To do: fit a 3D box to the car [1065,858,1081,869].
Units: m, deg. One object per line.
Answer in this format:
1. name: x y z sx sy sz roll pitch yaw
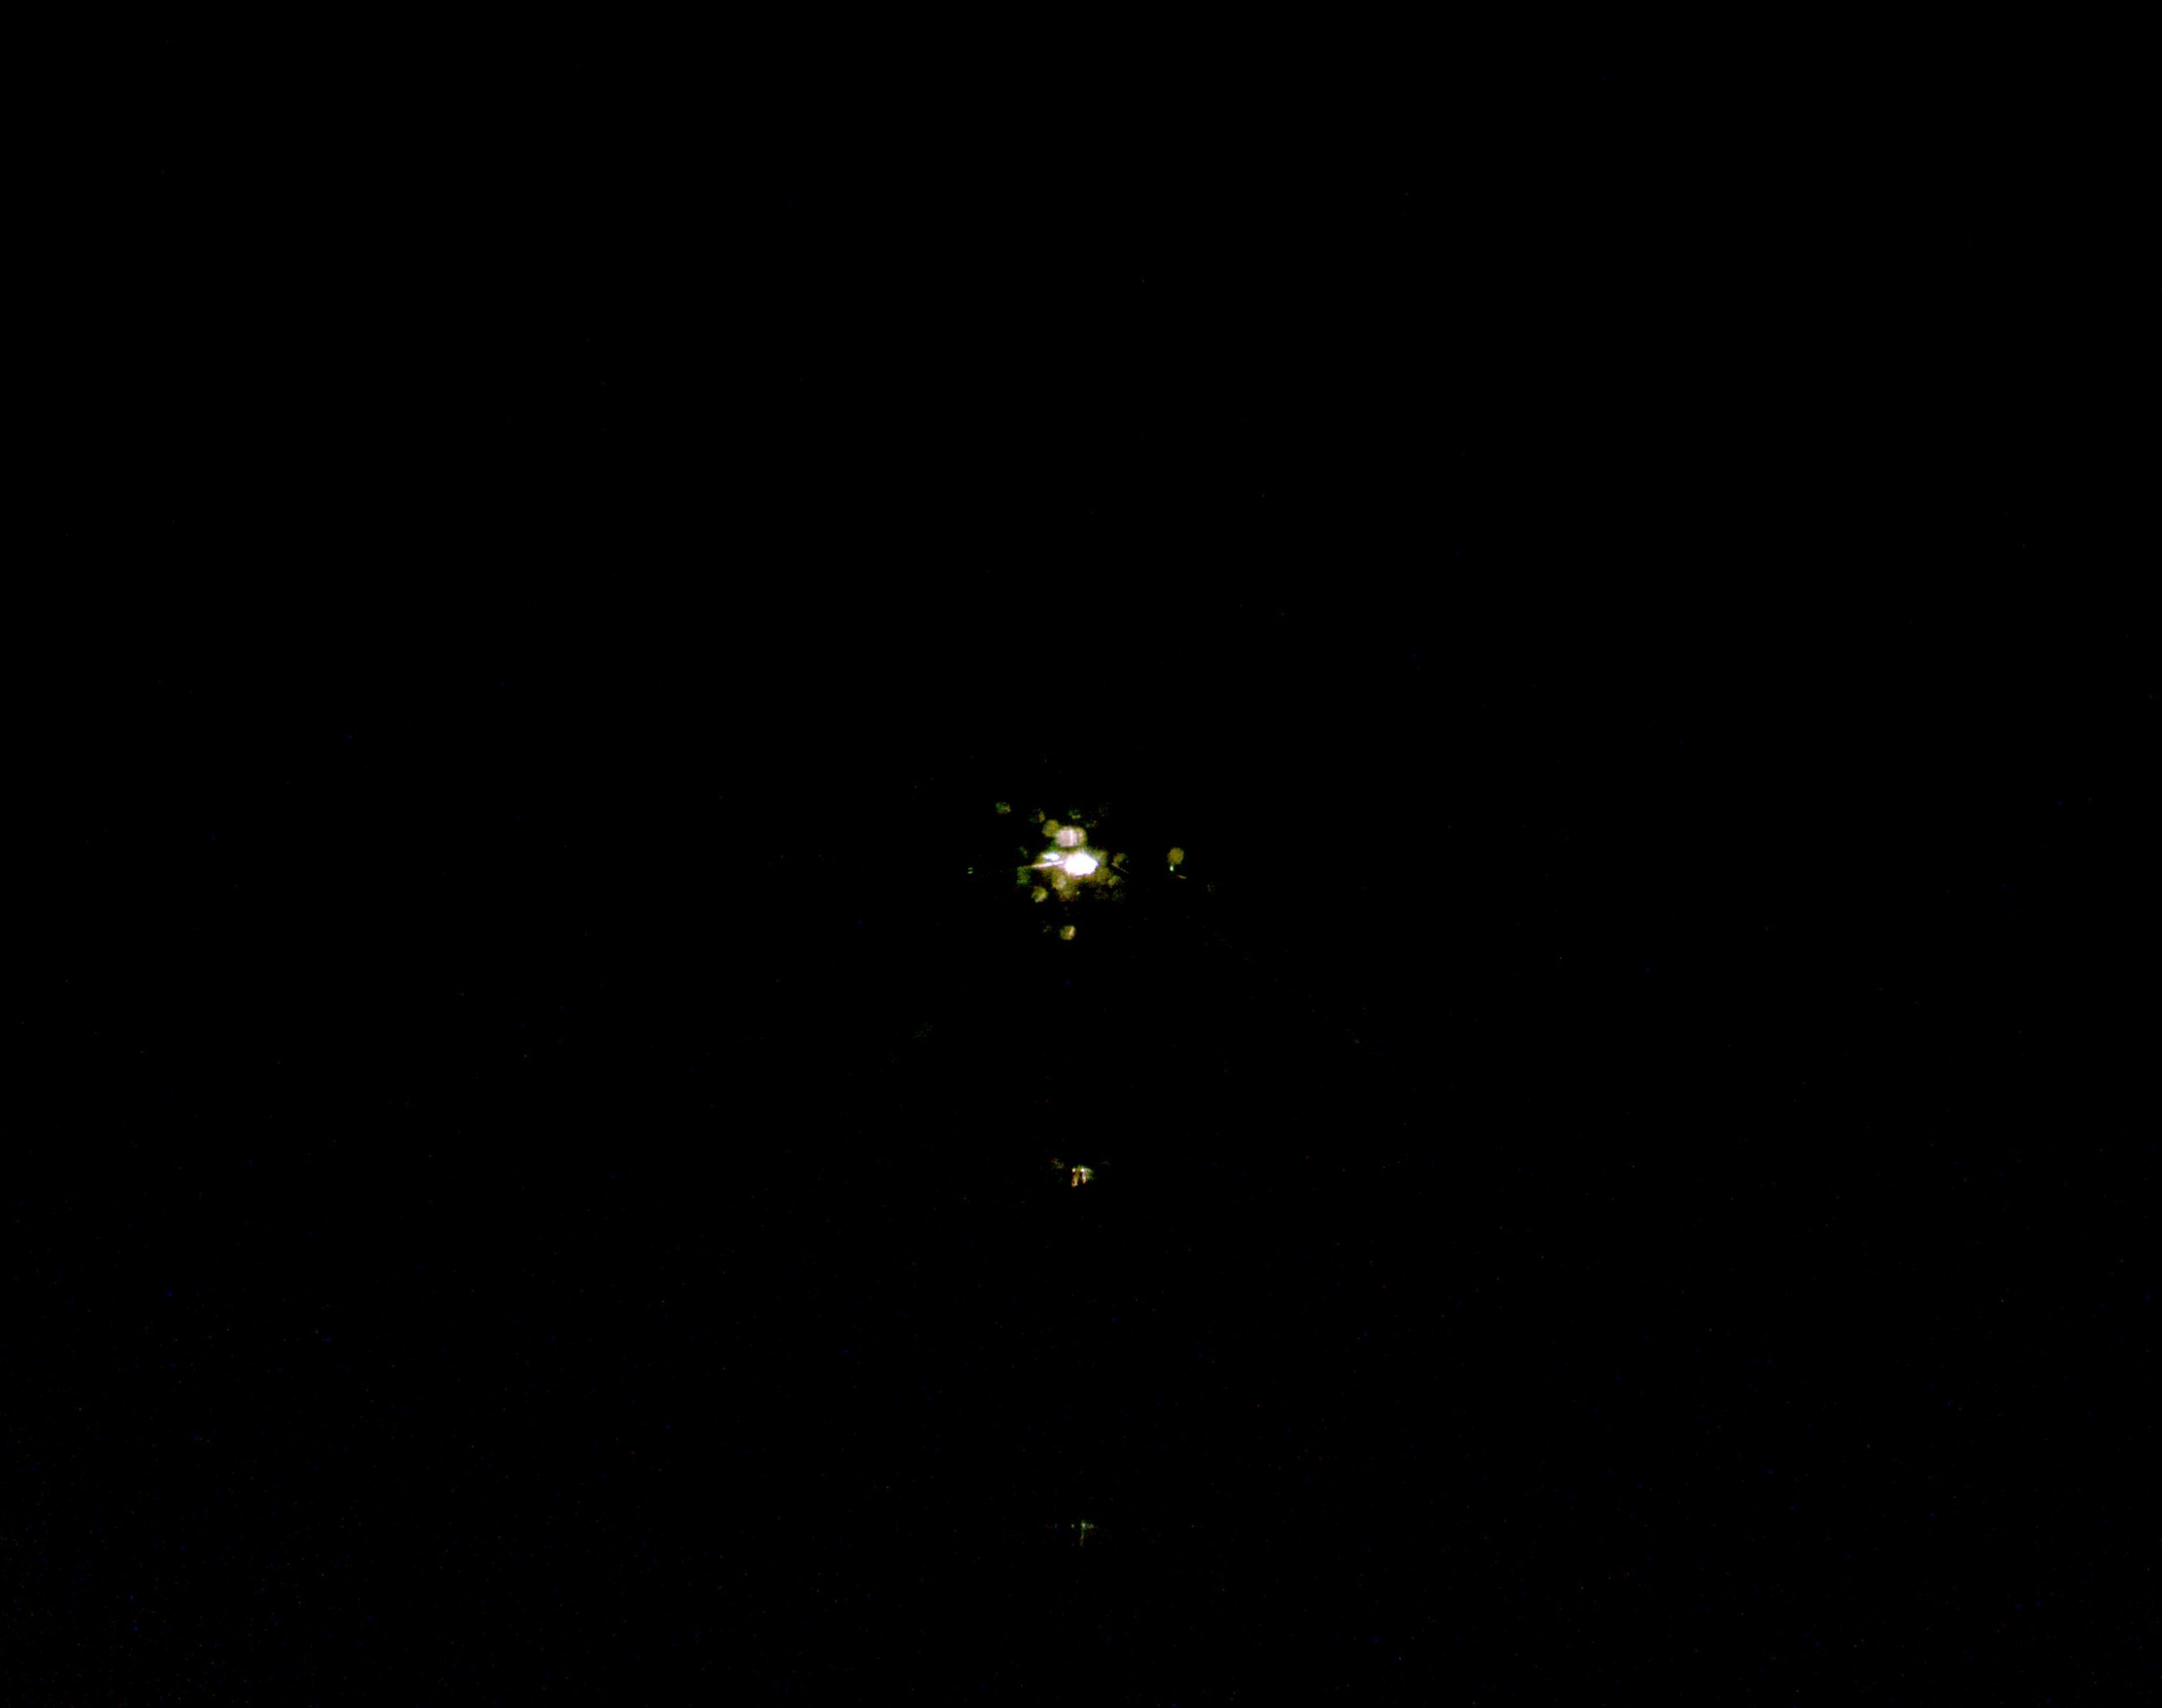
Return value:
1. car: -1.054 1.271 106.625 1.986 1.475 3.925 0 -1 1
